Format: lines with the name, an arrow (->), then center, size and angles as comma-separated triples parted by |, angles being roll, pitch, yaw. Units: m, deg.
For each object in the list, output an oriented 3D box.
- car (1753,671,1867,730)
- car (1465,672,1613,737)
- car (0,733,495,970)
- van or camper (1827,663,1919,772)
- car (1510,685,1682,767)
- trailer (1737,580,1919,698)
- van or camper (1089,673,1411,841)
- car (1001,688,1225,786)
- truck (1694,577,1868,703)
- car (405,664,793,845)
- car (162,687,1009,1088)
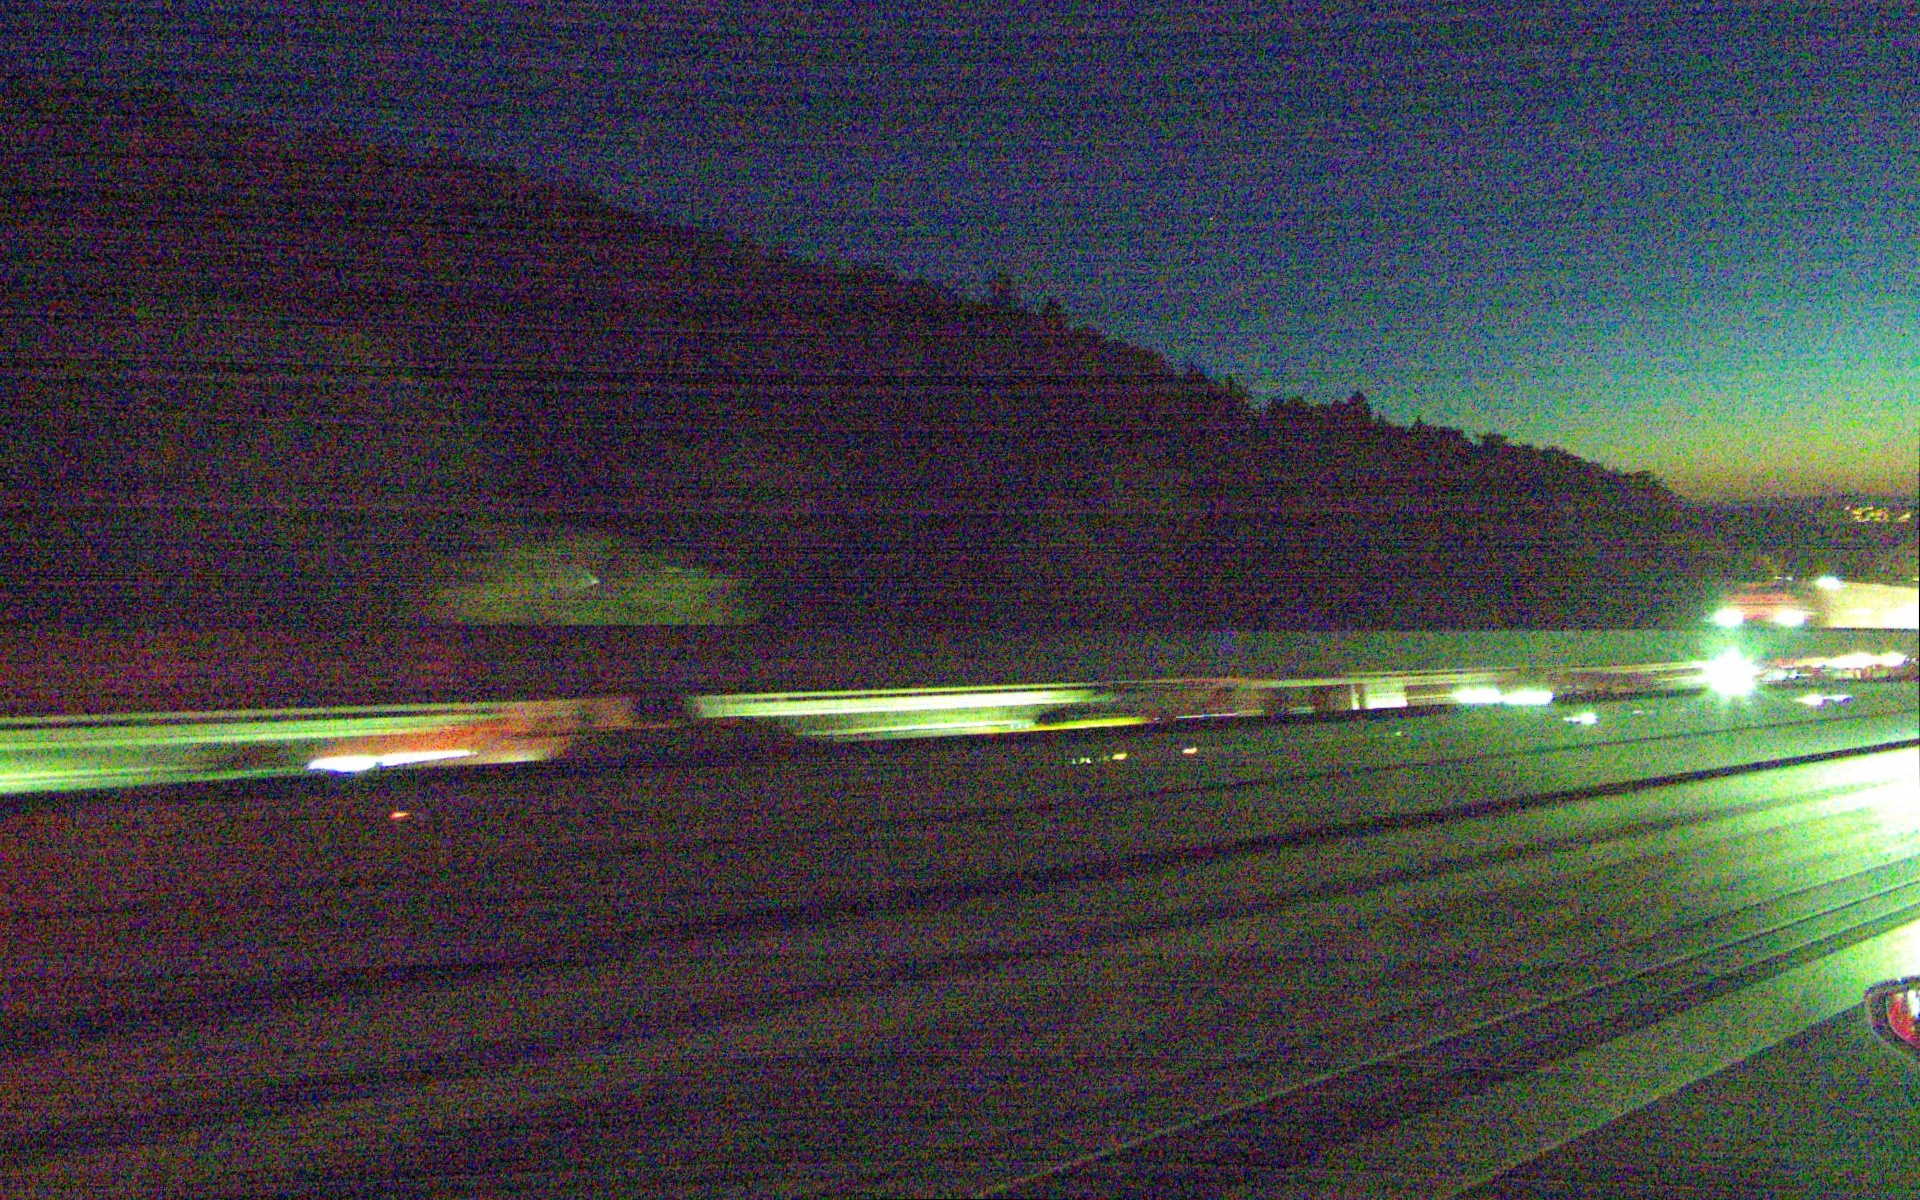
car -> 25.171, 2.908, 29.699 | 4.341, 1.461, 1.590 | 1, -2, -36
car -> 15.469, 2.729, 26.806 | 3.950, 1.461, 1.594 | 1, 0, -28
car -> -7.284, 2.249, 9.526 | 5.053, 1.509, 2.129 | 1, -2, -31
van or camper -> 20.894, 2.462, 21.742 | 4.526, 2.040, 2.019 | 1, -2, -33
car -> 13.950, 2.684, 21.974 | 3.954, 1.461, 1.593 | 1, -2, -31
trailer -> 36.835, 1.578, 41.852 | 12.702, 4.296, 3.414 | 1, -2, -35
van or camper -> 4.632, 2.270, 15.740 | 5.165, 2.040, 1.982 | 1, -2, -33
car -> 2.926, 2.504, 19.034 | 3.953, 1.461, 1.829 | 1, -1, -31
truck -> 30.707, 1.467, 37.542 | 6.218, 4.279, 3.397 | 1, -2, -35
car -> -5.214, 2.059, 14.713 | 5.053, 2.081, 2.129 | 1, -2, -31
car -> -2.327, 1.626, 7.232 | 5.053, 1.728, 2.129 | 1, -2, -31
